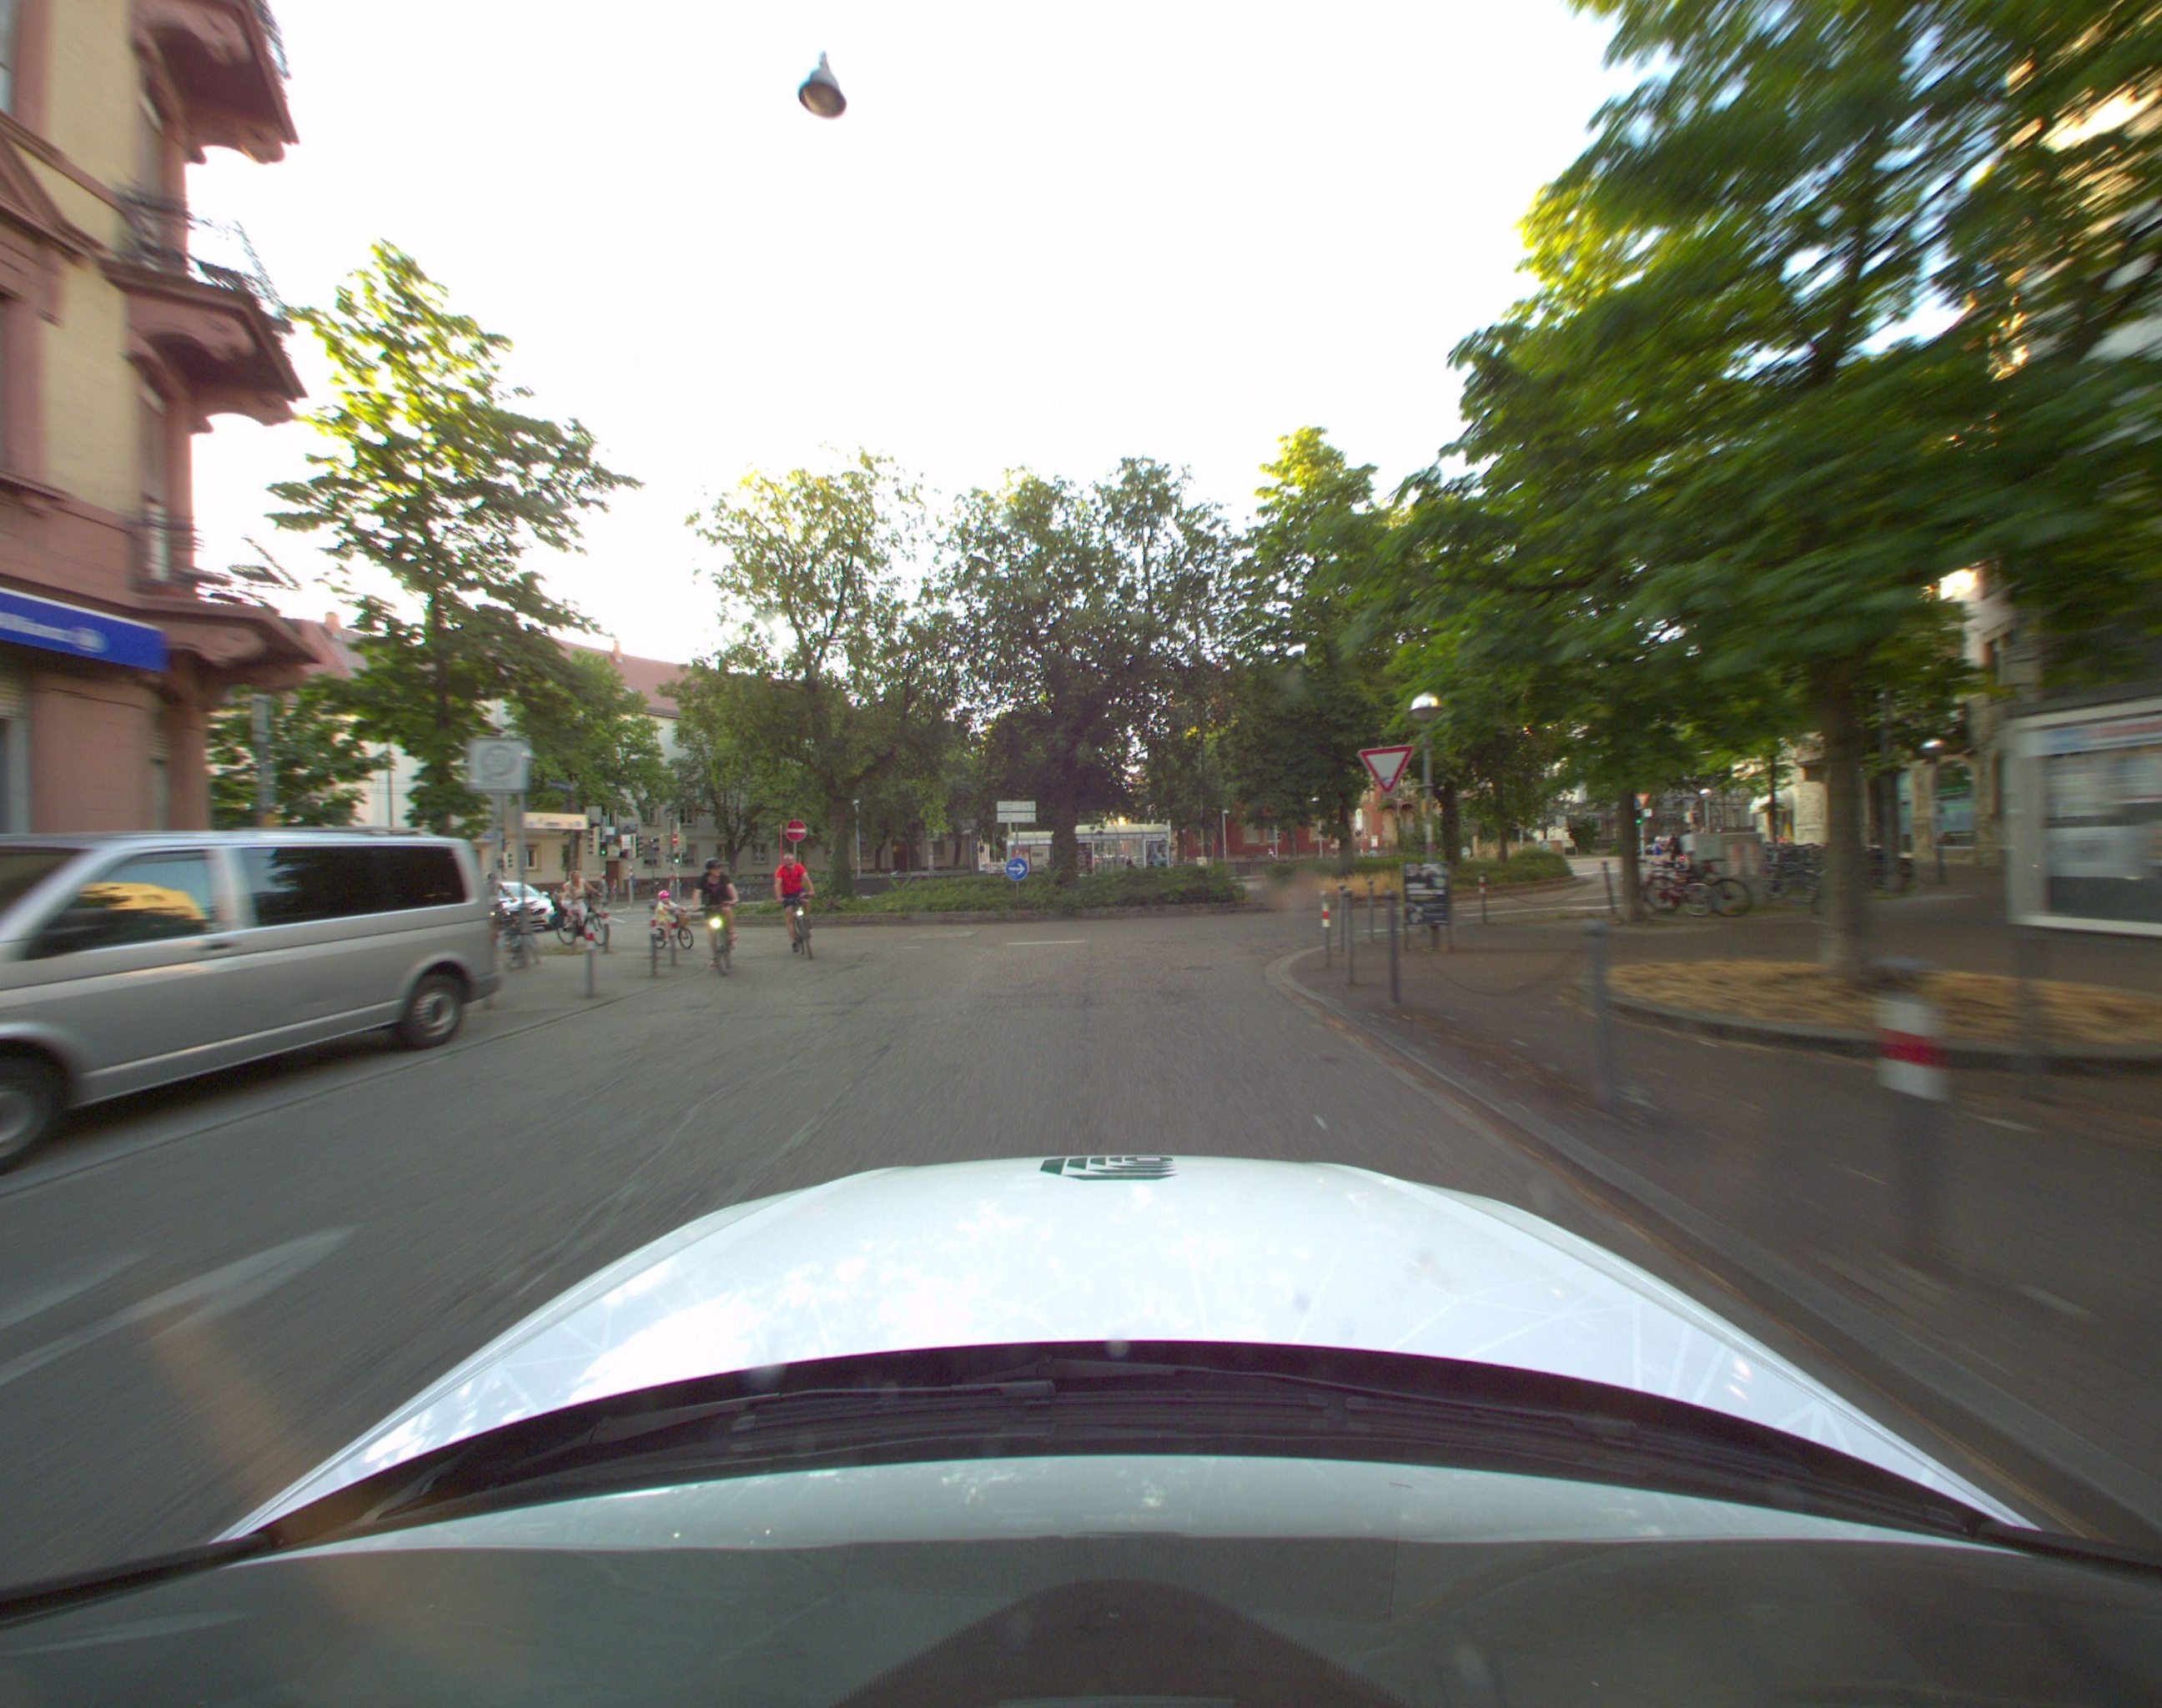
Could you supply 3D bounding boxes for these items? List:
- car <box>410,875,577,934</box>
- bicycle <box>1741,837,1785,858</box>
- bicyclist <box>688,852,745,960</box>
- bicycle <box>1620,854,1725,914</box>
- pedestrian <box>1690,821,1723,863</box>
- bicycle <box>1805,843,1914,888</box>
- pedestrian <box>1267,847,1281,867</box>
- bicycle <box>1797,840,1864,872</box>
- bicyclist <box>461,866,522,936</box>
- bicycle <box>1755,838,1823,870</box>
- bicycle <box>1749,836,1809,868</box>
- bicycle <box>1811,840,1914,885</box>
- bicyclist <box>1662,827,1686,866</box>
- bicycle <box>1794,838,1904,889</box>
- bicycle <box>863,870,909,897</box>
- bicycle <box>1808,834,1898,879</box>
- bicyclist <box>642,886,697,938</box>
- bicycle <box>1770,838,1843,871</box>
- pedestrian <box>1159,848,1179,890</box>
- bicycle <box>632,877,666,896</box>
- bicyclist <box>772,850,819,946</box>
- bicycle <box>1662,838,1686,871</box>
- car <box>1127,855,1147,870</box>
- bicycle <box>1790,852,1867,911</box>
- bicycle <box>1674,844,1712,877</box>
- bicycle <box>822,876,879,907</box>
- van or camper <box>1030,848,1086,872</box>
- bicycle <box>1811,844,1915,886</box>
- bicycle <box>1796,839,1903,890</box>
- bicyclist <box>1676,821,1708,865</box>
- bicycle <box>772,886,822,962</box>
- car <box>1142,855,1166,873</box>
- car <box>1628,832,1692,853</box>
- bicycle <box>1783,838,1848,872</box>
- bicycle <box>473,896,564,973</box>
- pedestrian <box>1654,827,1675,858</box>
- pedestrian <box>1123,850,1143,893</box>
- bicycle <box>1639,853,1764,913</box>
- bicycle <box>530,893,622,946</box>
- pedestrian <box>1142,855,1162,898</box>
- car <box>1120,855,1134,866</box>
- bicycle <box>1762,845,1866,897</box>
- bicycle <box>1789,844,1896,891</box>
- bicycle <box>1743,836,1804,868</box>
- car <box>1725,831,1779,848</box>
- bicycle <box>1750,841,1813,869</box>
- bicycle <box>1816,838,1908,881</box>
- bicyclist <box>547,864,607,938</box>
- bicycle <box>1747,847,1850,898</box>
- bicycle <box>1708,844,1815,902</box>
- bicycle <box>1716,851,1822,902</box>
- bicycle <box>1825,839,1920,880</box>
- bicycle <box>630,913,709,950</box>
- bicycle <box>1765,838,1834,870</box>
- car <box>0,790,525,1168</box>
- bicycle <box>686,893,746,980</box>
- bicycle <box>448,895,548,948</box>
[{"bbox_3d":[-17.307,1.475,23.958,4.780,1.517,2.012,-2,0,27],"label":"car"},{"bbox_3d":[39.474,-0.365,47.175,1.854,1.130,0.736,-2,-1,33],"label":"bicycle"},{"bbox_3d":[-5.457,0.754,12.231,0.716,1.526,0.860,-2,0,-23],"label":"bicyclist"},{"bbox_3d":[11.067,0.550,15.302,0.432,1.039,1.596,-2,-1,-20],"label":"bicycle"},{"bbox_3d":[32.775,-0.618,42.661,1.065,2.085,1.003,-3,0,-35],"label":"pedestrian"},{"bbox_3d":[19.433,0.291,20.357,0.555,1.065,1.897,-2,-1,-43],"label":"bicycle"},{"bbox_3d":[15.381,0.252,64.944,0.856,1.526,0.720,-2,-1,38],"label":"pedestrian"},{"bbox_3d":[26.481,0.073,28.795,1.653,1.078,0.489,-3,-1,35],"label":"bicycle"},{"bbox_3d":[-13.726,1.083,18.990,0.869,1.545,0.679,-2,0,1],"label":"bicyclist"},{"bbox_3d":[27.647,0.007,31.833,1.870,1.162,0.643,-2,-1,18],"label":"bicycle"},{"bbox_3d":[29.613,-0.082,34.558,1.773,1.236,0.654,-2,-1,17],"label":"bicycle"},{"bbox_3d":[20.074,0.238,20.961,0.421,1.116,1.833,-2,-1,-40],"label":"bicycle"},{"bbox_3d":[23.010,-0.301,31.604,0.691,1.461,0.789,-2,-1,37],"label":"bicyclist"},{"bbox_3d":[18.794,0.250,19.966,0.555,1.200,1.897,-2,-1,-43],"label":"bicycle"},{"bbox_3d":[-8.319,1.260,34.754,1.856,1.051,0.542,-2,0,-22],"label":"bicycle"},{"bbox_3d":[22.679,0.098,23.943,0.495,1.217,1.862,7,-7,-44],"label":"bicycle"},{"bbox_3d":[-8.205,1.153,16.249,0.721,0.977,0.652,-2,0,27],"label":"bicyclist"},{"bbox_3d":[27.071,0.018,30.430,1.867,1.162,0.709,-3,-1,29],"label":"bicycle"},{"bbox_3d":[3.101,0.518,28.635,0.614,1.431,0.656,-2,0,1],"label":"pedestrian"},{"bbox_3d":[-29.936,2.250,56.483,0.677,1.151,1.932,-2,0,35],"label":"bicycle"},{"bbox_3d":[-4.808,0.713,13.688,0.655,1.526,0.860,-2,0,-23],"label":"bicyclist"},{"bbox_3d":[23.024,-0.002,31.607,0.691,1.236,1.875,-2,0,37],"label":"bicycle"},{"bbox_3d":[6.693,1.017,97.764,1.987,1.704,4.718,-1,0,-1],"label":"car"},{"bbox_3d":[13.402,0.476,14.589,1.731,0.969,0.428,-2,-1,-28],"label":"bicycle"},{"bbox_3d":[20.509,0.204,27.311,0.691,1.055,1.804,-2,0,27],"label":"bicycle"},{"bbox_3d":[-9.349,1.513,33.000,2.117,1.151,0.681,-2,0,-23],"label":"bicycle"},{"bbox_3d":[-3.066,0.790,108.140,7.351,3.083,2.669,-1,-1,-4],"label":"van or camper"},{"bbox_3d":[19.855,0.300,20.717,0.421,1.014,1.833,-2,-1,-40],"label":"bicycle"},{"bbox_3d":[18.289,0.271,19.424,0.450,1.168,1.775,-2,-1,-40],"label":"bicycle"},{"bbox_3d":[20.474,-0.373,27.296,0.691,1.411,0.870,-2,0,27],"label":"bicyclist"},{"bbox_3d":[-4.754,1.117,13.567,0.652,1.107,1.999,-2,0,-22],"label":"bicycle"},{"bbox_3d":[7.248,1.011,81.436,1.987,1.704,4.718,-1,0,-1],"label":"car"},{"bbox_3d":[46.809,-0.897,65.802,4.417,1.510,1.938,-2,-1,-18],"label":"car"},{"bbox_3d":[26.354,0.049,29.249,1.653,1.127,0.490,-3,5,36],"label":"bicycle"},{"bbox_3d":[-9.120,1.271,13.279,0.559,1.083,1.790,-1,-1,-12],"label":"bicycle"},{"bbox_3d":[34.657,-0.706,48.345,0.859,1.794,0.930,-3,0,40],"label":"pedestrian"},{"bbox_3d":[1.791,0.595,28.046,0.614,1.431,0.656,-2,0,1],"label":"pedestrian"},{"bbox_3d":[11.508,0.531,15.184,0.432,1.039,1.886,-2,-1,-20],"label":"bicycle"},{"bbox_3d":[-11.243,1.445,18.109,2.022,1.094,0.734,-2,0,26],"label":"bicycle"},{"bbox_3d":[2.451,0.775,28.137,0.614,1.431,0.656,-2,0,1],"label":"pedestrian"},{"bbox_3d":[7.563,1.006,133.370,1.987,1.704,4.718,-1,0,-1],"label":"car"},{"bbox_3d":[15.924,0.376,17.726,0.421,1.076,1.589,-2,-1,-37],"label":"bicycle"},{"bbox_3d":[17.936,0.332,19.211,0.450,1.063,1.775,-2,-1,-40],"label":"bicycle"},{"bbox_3d":[28.710,-0.071,33.792,1.772,1.236,0.703,-2,-1,18],"label":"bicycle"},{"bbox_3d":[63.085,-1.332,76.567,4.635,1.426,1.995,-2,-1,-22],"label":"car"},{"bbox_3d":[28.354,0.035,32.996,1.786,1.038,0.703,-2,-1,18],"label":"bicycle"},{"bbox_3d":[22.108,0.166,23.088,0.421,1.144,1.832,-2,-1,-44],"label":"bicycle"},{"bbox_3d":[-11.185,1.030,18.074,0.864,1.583,0.731,-2,-1,26],"label":"bicyclist"},{"bbox_3d":[15.511,0.403,17.645,0.421,1.063,1.589,-2,-1,-37],"label":"bicycle"},{"bbox_3d":[14.254,0.409,17.103,0.557,1.148,1.591,-2,-1,-32],"label":"bicycle"},{"bbox_3d":[14.626,0.468,17.348,0.557,1.020,1.591,-2,-1,-32],"label":"bicycle"},{"bbox_3d":[22.628,0.154,23.308,1.833,1.104,0.577,-2,-1,22],"label":"bicycle"},{"bbox_3d":[-8.215,1.536,16.255,1.445,0.642,0.655,-2,0,27],"label":"bicycle"},{"bbox_3d":[27.420,0.009,31.112,1.867,1.162,0.644,-3,-1,29],"label":"bicycle"},{"bbox_3d":[-6.875,0.688,5.999,2.033,2.057,5.006,0,0,1],"label":"car"},{"bbox_3d":[-5.454,1.185,12.257,0.724,1.107,1.999,-2,0,-22],"label":"bicycle"},{"bbox_3d":[-13.561,1.558,18.982,1.796,1.094,0.686,-2,0,1],"label":"bicycle"}]
